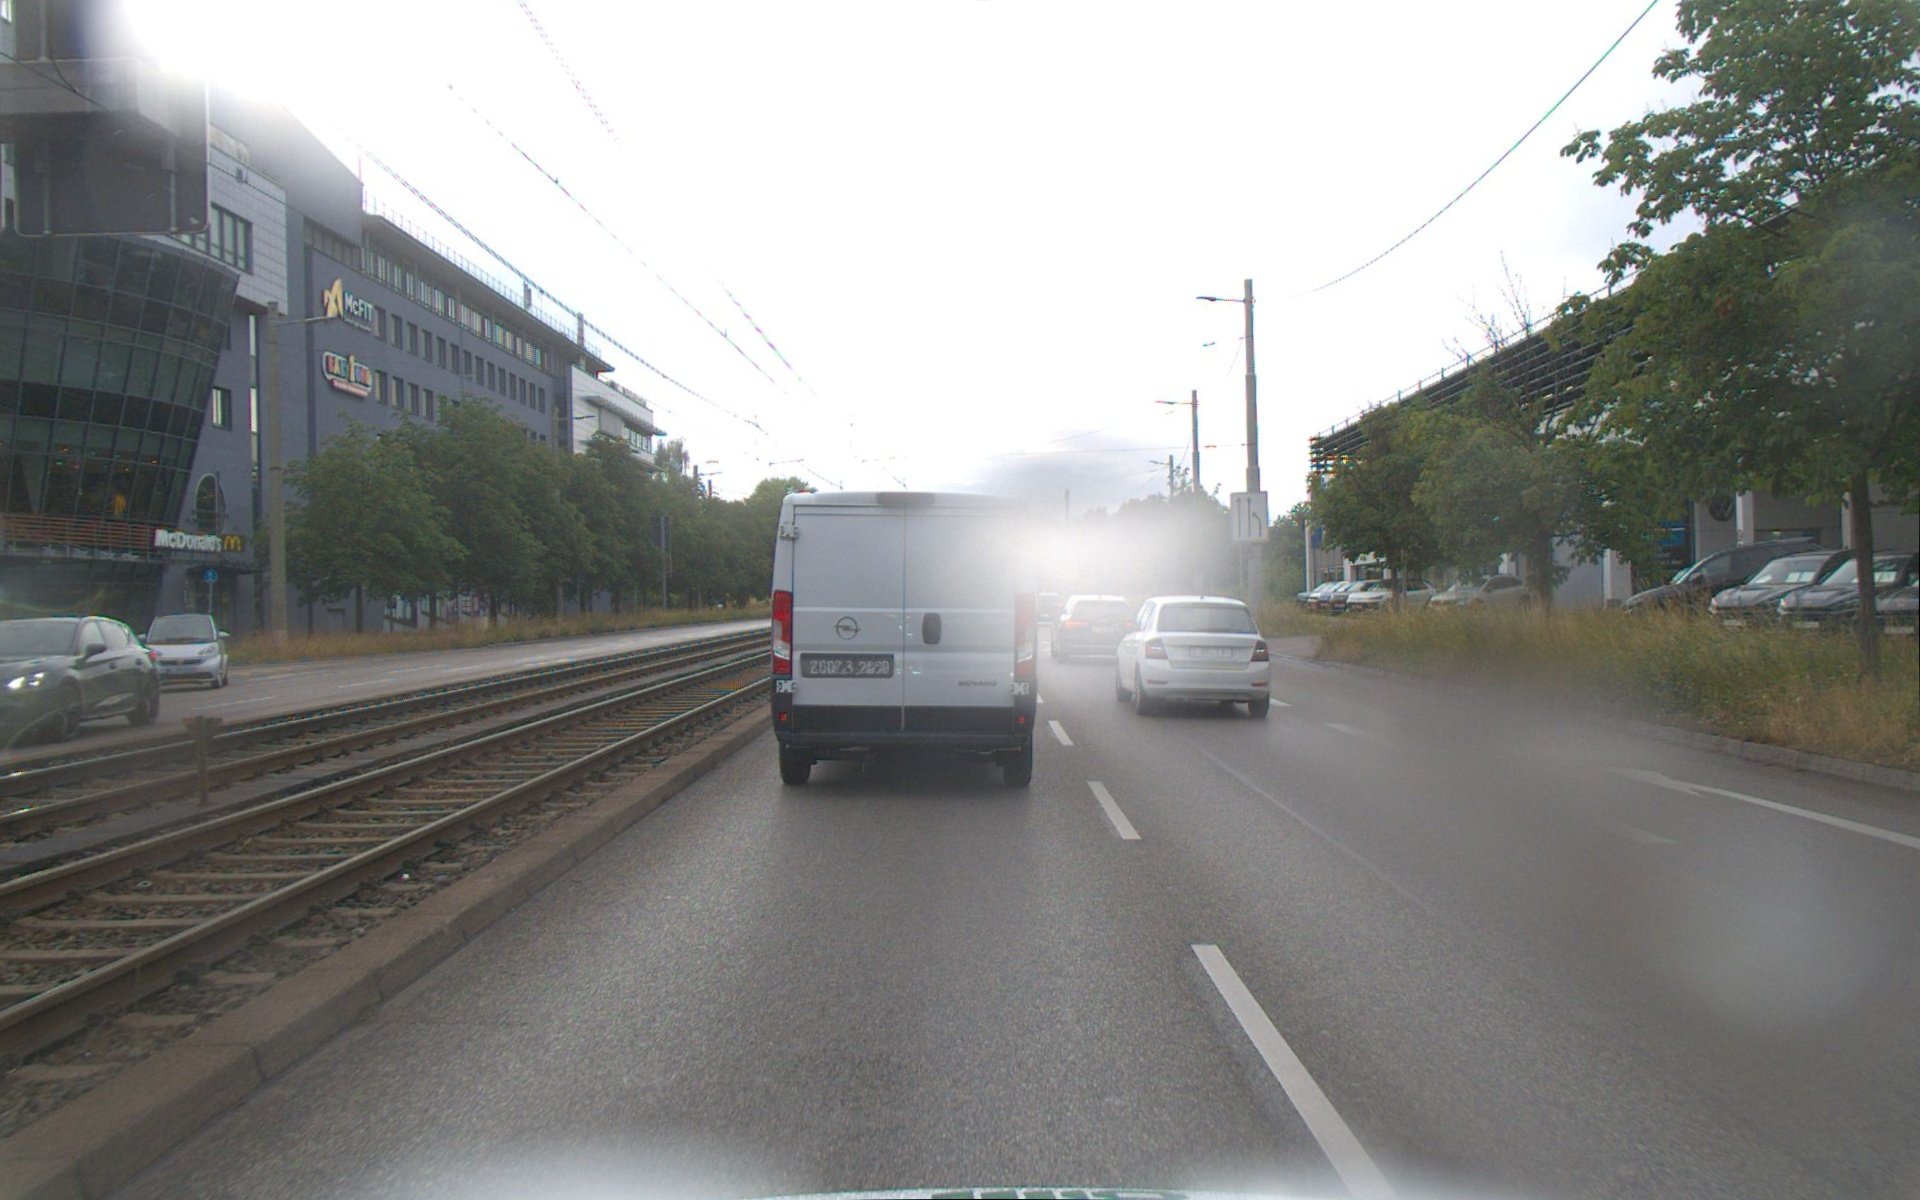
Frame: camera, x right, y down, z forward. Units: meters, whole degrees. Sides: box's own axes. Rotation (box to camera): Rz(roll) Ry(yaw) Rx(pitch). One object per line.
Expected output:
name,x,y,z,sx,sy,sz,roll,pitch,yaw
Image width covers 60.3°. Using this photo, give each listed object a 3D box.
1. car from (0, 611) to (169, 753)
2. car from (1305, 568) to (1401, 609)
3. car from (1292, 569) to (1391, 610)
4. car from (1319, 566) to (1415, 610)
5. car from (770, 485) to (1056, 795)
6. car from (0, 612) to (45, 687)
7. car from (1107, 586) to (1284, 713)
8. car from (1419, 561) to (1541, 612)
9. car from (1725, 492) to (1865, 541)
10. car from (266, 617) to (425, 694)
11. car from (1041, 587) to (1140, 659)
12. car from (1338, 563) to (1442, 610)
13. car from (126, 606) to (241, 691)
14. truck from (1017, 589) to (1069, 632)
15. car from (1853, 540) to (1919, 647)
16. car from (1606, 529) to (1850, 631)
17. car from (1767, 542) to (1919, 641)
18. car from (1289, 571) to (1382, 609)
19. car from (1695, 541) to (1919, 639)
car,-10.991,0.918,19.653,1.770,1.454,4.225,-3,1,-11
car,17.389,-0.516,73.213,4.141,1.596,1.778,-3,-1,-35
car,17.657,-0.505,76.551,4.295,1.654,1.838,-3,-1,-30
car,17.132,-0.515,69.520,4.152,1.596,1.773,-3,-1,-40
car,-0.328,0.262,14.517,2.047,2.235,5.061,1,1,0
car,-24.738,1.267,39.897,4.119,1.766,1.997,-3,0,-7
car,2.972,0.572,21.555,1.711,1.483,3.670,1,0,-1
car,17.626,-0.478,56.032,4.049,1.491,1.728,-3,-1,-33
car,28.615,-2.844,56.750,3.904,1.534,1.786,1,0,3
car,-17.922,1.607,48.396,3.911,2.049,1.997,-2,0,-6
car,2.770,0.469,35.849,1.753,1.474,3.999,0,0,-1
car,17.053,-0.539,65.481,4.055,1.596,1.776,-3,-1,-36
car,-16.065,0.978,34.156,1.586,1.563,2.914,-4,2,-35
truck,3.719,0.433,74.906,1.953,1.822,4.413,-2,0,-2
car,16.451,-0.196,26.339,4.086,1.632,1.813,-3,0,-25
car,16.608,-0.424,35.966,4.611,1.909,1.824,-3,0,24
car,16.492,-0.199,29.231,4.089,1.589,1.854,-3,0,-26
car,18.137,-0.496,79.845,4.317,1.596,1.780,-3,-1,-31
car,16.517,-0.204,32.125,4.274,1.640,1.852,-3,0,-29
